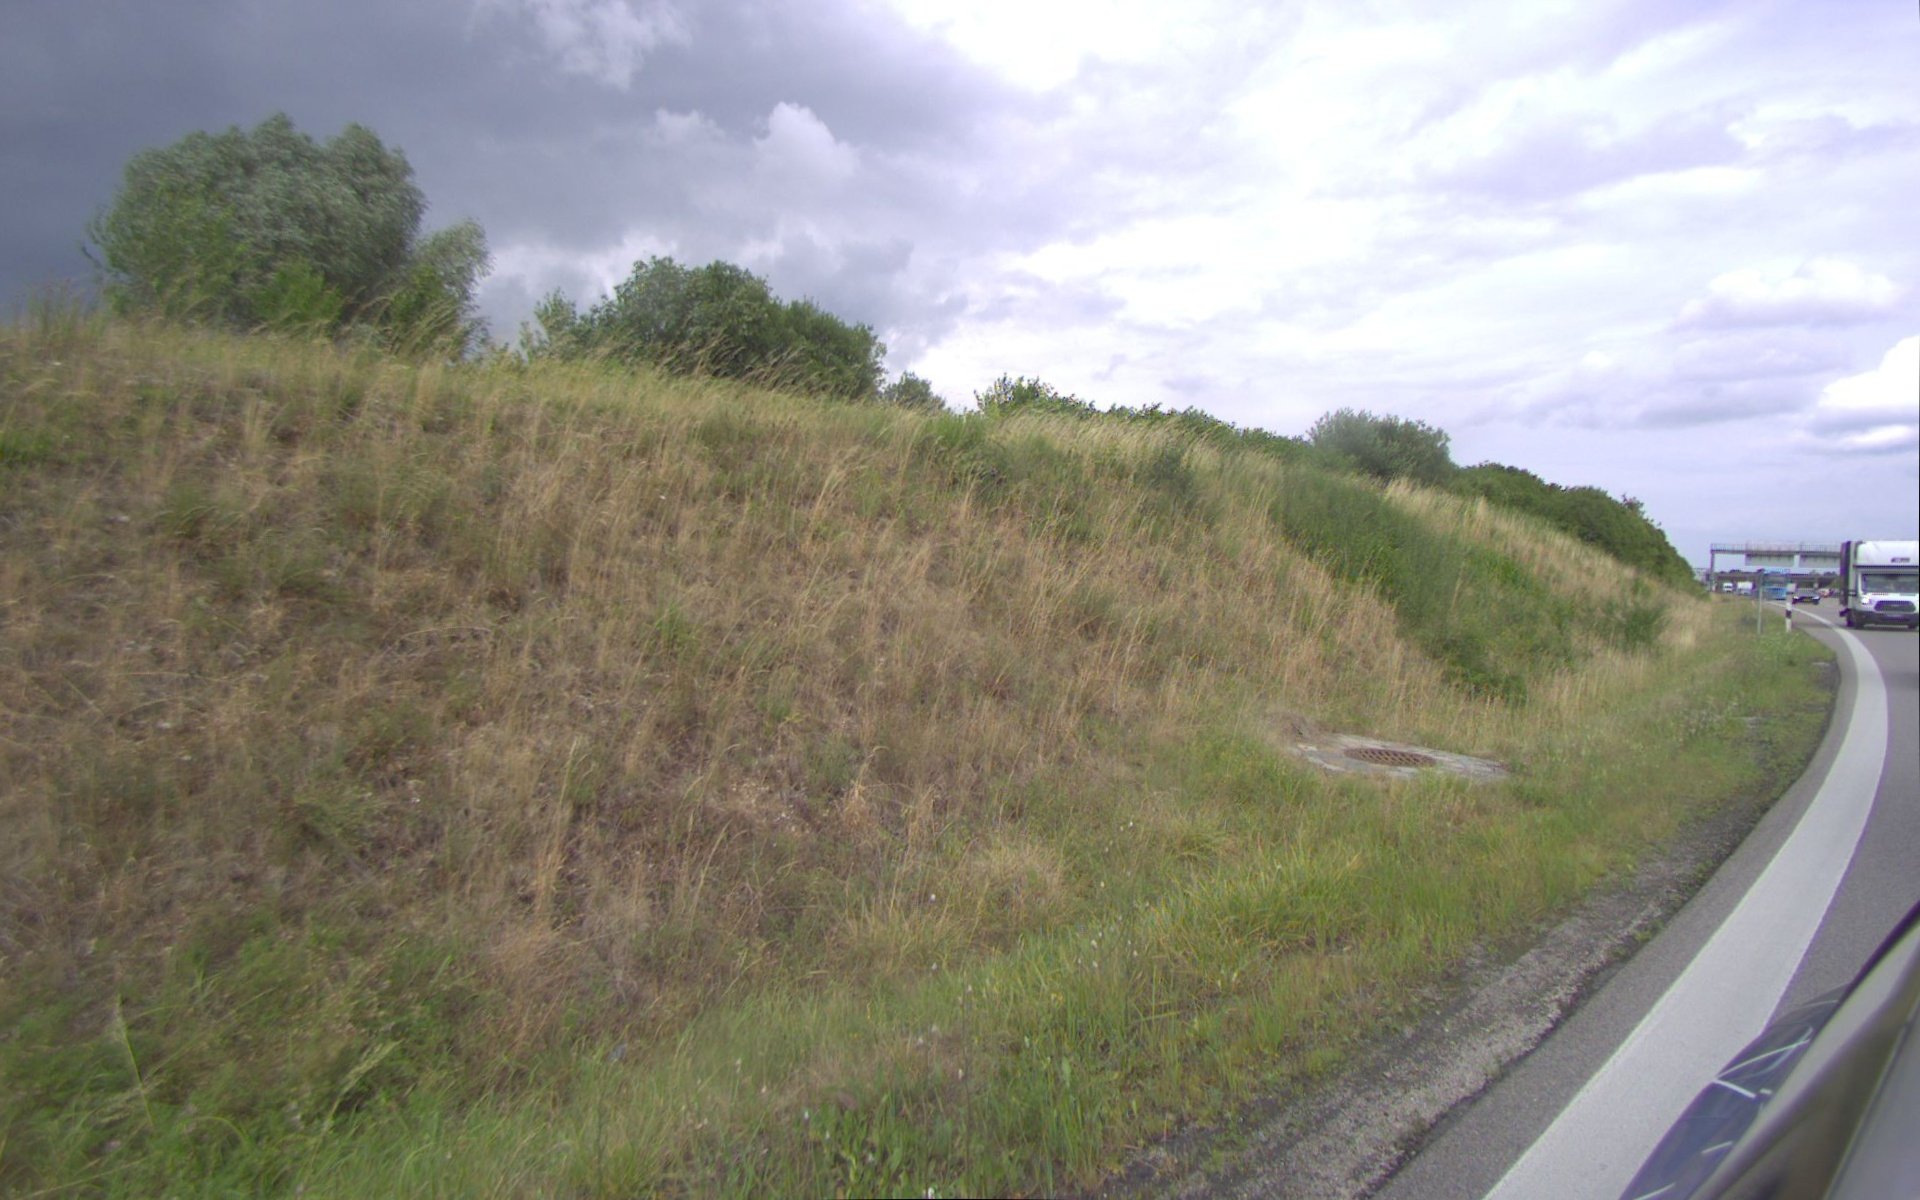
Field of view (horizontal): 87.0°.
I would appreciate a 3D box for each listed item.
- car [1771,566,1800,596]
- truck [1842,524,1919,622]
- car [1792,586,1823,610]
[{"bbox_3d":[106.148,-2.450,130.173,2.492,3.757,7.599,2,2,37],"label":"car"},{"bbox_3d":[34.073,-0.954,36.880,2.437,3.275,7.093,2,2,38],"label":"truck"},{"bbox_3d":[78.323,-0.199,93.524,1.990,2.038,3.946,2,2,38],"label":"car"}]
